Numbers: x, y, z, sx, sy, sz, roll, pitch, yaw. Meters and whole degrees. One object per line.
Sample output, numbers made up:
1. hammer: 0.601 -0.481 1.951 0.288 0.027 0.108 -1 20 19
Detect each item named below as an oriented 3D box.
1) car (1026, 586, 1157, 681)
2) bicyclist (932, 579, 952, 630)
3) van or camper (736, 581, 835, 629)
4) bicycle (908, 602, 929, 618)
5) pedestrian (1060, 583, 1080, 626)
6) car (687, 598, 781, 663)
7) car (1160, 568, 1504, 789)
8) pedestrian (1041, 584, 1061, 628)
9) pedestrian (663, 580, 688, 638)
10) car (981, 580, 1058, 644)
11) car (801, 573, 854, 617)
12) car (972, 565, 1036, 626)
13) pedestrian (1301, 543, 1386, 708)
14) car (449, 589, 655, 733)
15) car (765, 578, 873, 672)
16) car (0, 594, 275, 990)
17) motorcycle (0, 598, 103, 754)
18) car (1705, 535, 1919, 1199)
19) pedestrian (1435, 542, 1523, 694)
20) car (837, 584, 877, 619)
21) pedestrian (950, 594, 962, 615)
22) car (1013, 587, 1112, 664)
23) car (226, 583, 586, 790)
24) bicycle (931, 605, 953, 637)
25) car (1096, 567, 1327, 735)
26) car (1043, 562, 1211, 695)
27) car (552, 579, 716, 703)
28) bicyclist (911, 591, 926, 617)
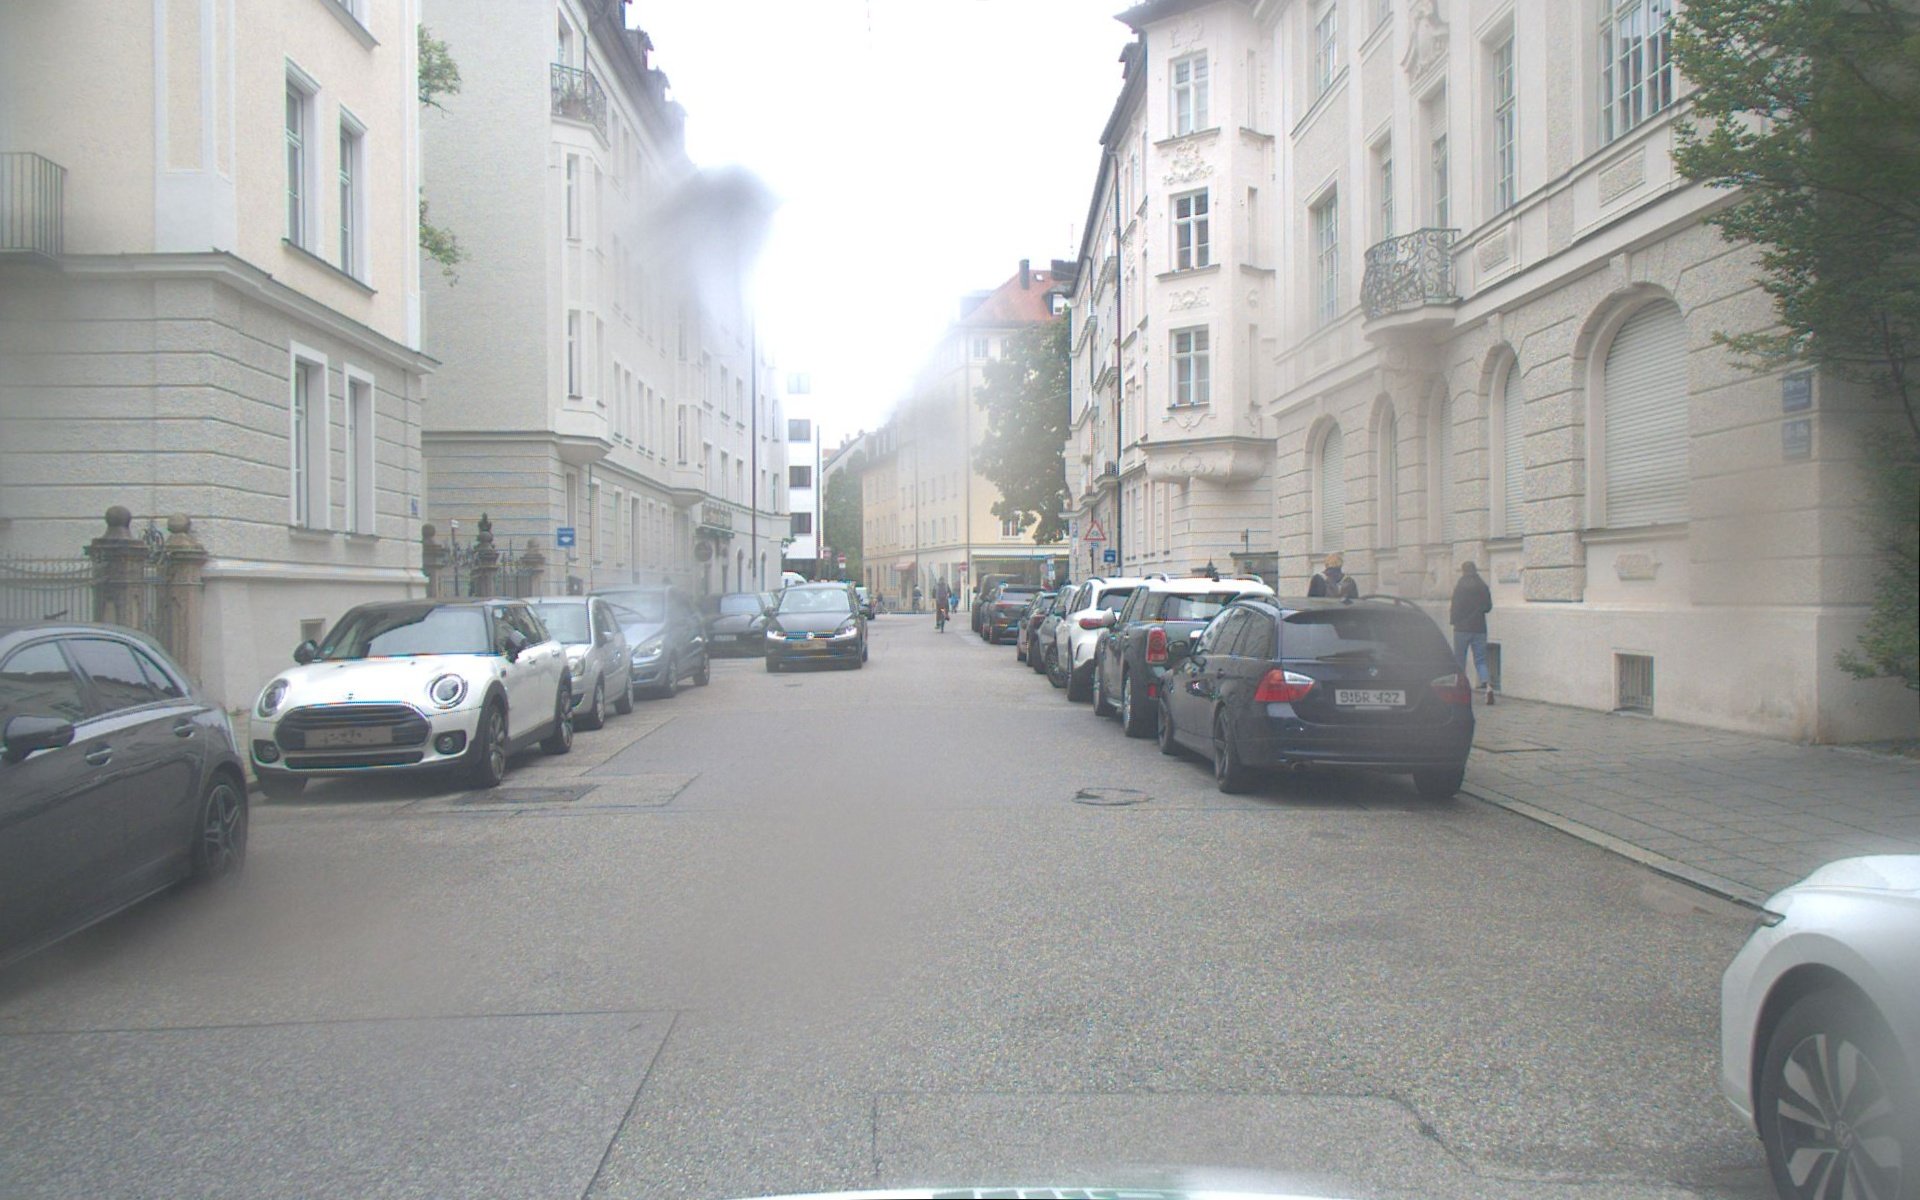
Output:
1. car: 2.194 0.552 28.639 1.674 1.527 3.996 0 0 -4
2. bicyclist: -0.582 0.149 53.407 0.593 1.635 0.758 -1 0 3
3. van or camper: -10.455 0.330 99.048 5.796 2.724 1.869 -1 -2 -10
4. bicycle: -2.684 0.644 106.228 0.833 1.019 2.160 0 0 -15
5. pedestrian: 4.496 0.191 67.490 0.666 1.703 0.653 -3 0 -4
6. car: -5.171 0.663 38.369 1.813 1.391 4.698 -1 0 -4
7. car: 2.753 0.517 13.197 1.676 1.477 4.223 0 0 -2
8. pedestrian: 3.689 0.246 67.071 0.689 1.758 0.703 -2 0 -4
9. pedestrian: -8.562 0.264 49.805 0.684 1.737 0.665 0 0 -4
10. car: 1.550 0.304 44.388 1.673 1.615 3.997 1 0 -3
11. car: -5.516 -0.201 69.236 1.805 1.788 4.000 -1 0 1
12. car: 1.425 -0.130 55.376 1.872 1.918 4.712 2 0 -2
13. pedestrian: 4.374 0.283 18.918 0.668 1.806 0.855 -3 0 -1
14. car: -4.642 0.650 19.341 1.612 1.427 3.996 -3 0 -4
15. car: -2.580 0.453 31.026 1.689 1.560 4.084 -3 0 -1
16. car: -4.297 0.710 6.490 1.701 1.388 4.189 -2 0 -5
17. motorcycle: -8.195 0.630 14.273 0.690 1.271 1.820 1 -1 -3
18. car: 2.934 0.636 2.438 1.630 1.534 4.061 0 0 -4
19. pedestrian: 6.064 0.198 19.353 0.668 1.708 0.811 -3 0 -3
20. car: -5.154 0.079 83.114 1.642 1.625 3.945 -3 -1 0
21. pedestrian: -0.277 0.304 106.146 0.684 1.293 0.651 -1 0 3
22. car: 1.996 0.487 33.199 1.580 1.419 3.998 1 0 -2
23. car: -4.415 0.634 13.857 1.761 1.460 4.078 0 -1 -2
24. bicycle: -0.579 0.668 53.354 0.626 1.022 1.574 -1 0 2
25. car: 2.513 0.477 17.487 1.713 1.551 4.169 0 0 -1
26. car: 2.237 0.334 23.237 1.857 1.665 4.391 -1 1 -1
27. car: -4.749 0.546 24.615 1.662 1.608 4.060 -3 0 -1
28. bicyclist: -2.653 0.243 106.093 0.768 1.666 0.972 0 0 -16
